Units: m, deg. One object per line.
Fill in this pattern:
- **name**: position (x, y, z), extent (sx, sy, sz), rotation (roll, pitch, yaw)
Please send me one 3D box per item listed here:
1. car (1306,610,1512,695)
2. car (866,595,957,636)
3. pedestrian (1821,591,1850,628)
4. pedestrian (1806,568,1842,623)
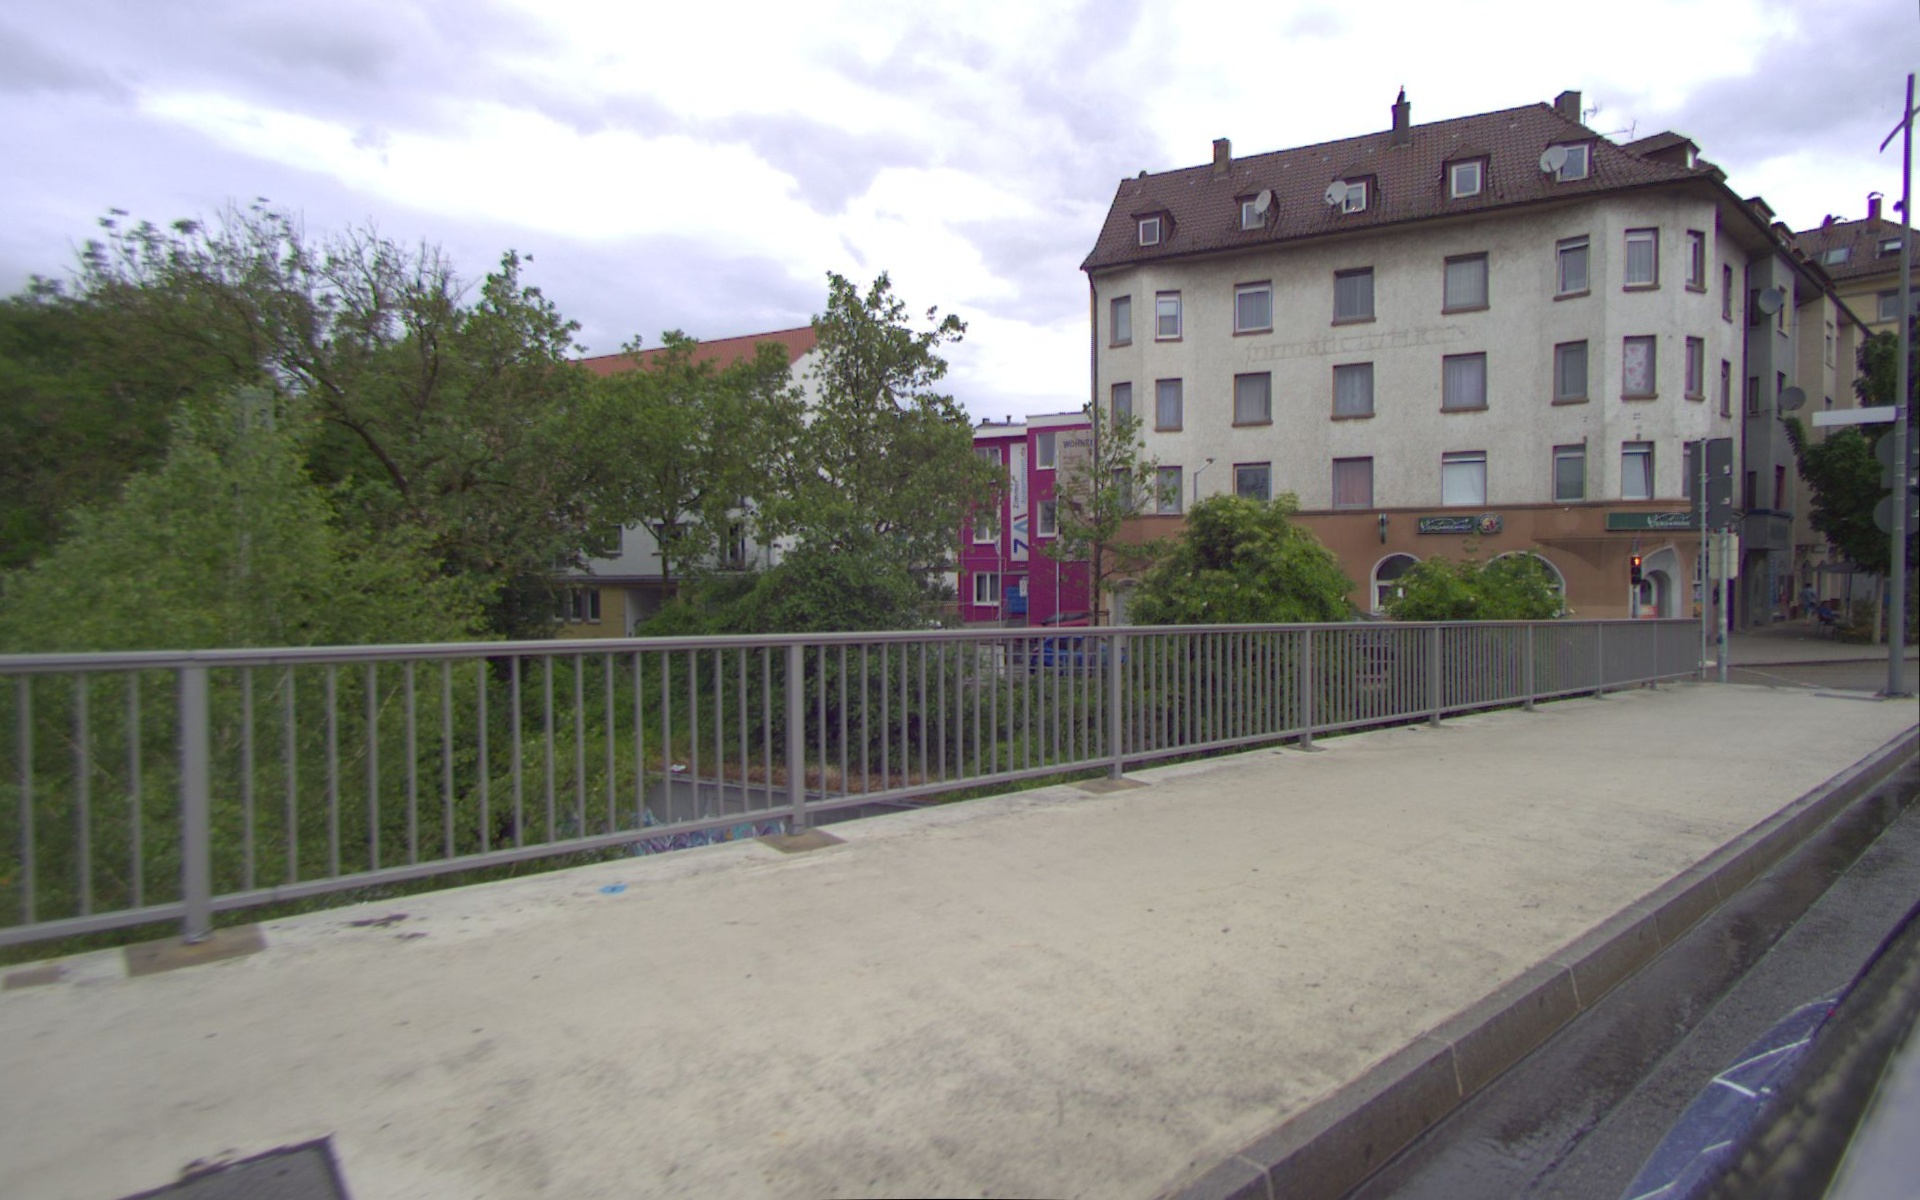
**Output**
- **car**: position (11.711, 1.375, 26.570), extent (4.711, 2.039, 1.981), rotation (-3, -1, 27)
- **car**: position (-2.381, 0.728, 49.898), extent (3.957, 1.570, 1.985), rotation (5, 3, 24)
- **pedestrian**: position (29.091, 0.303, 33.636), extent (0.547, 1.204, 0.665), rotation (-1, 1, -42)
- **pedestrian**: position (33.025, -0.189, 38.693), extent (1.179, 2.039, 0.898), rotation (-1, 1, -41)
